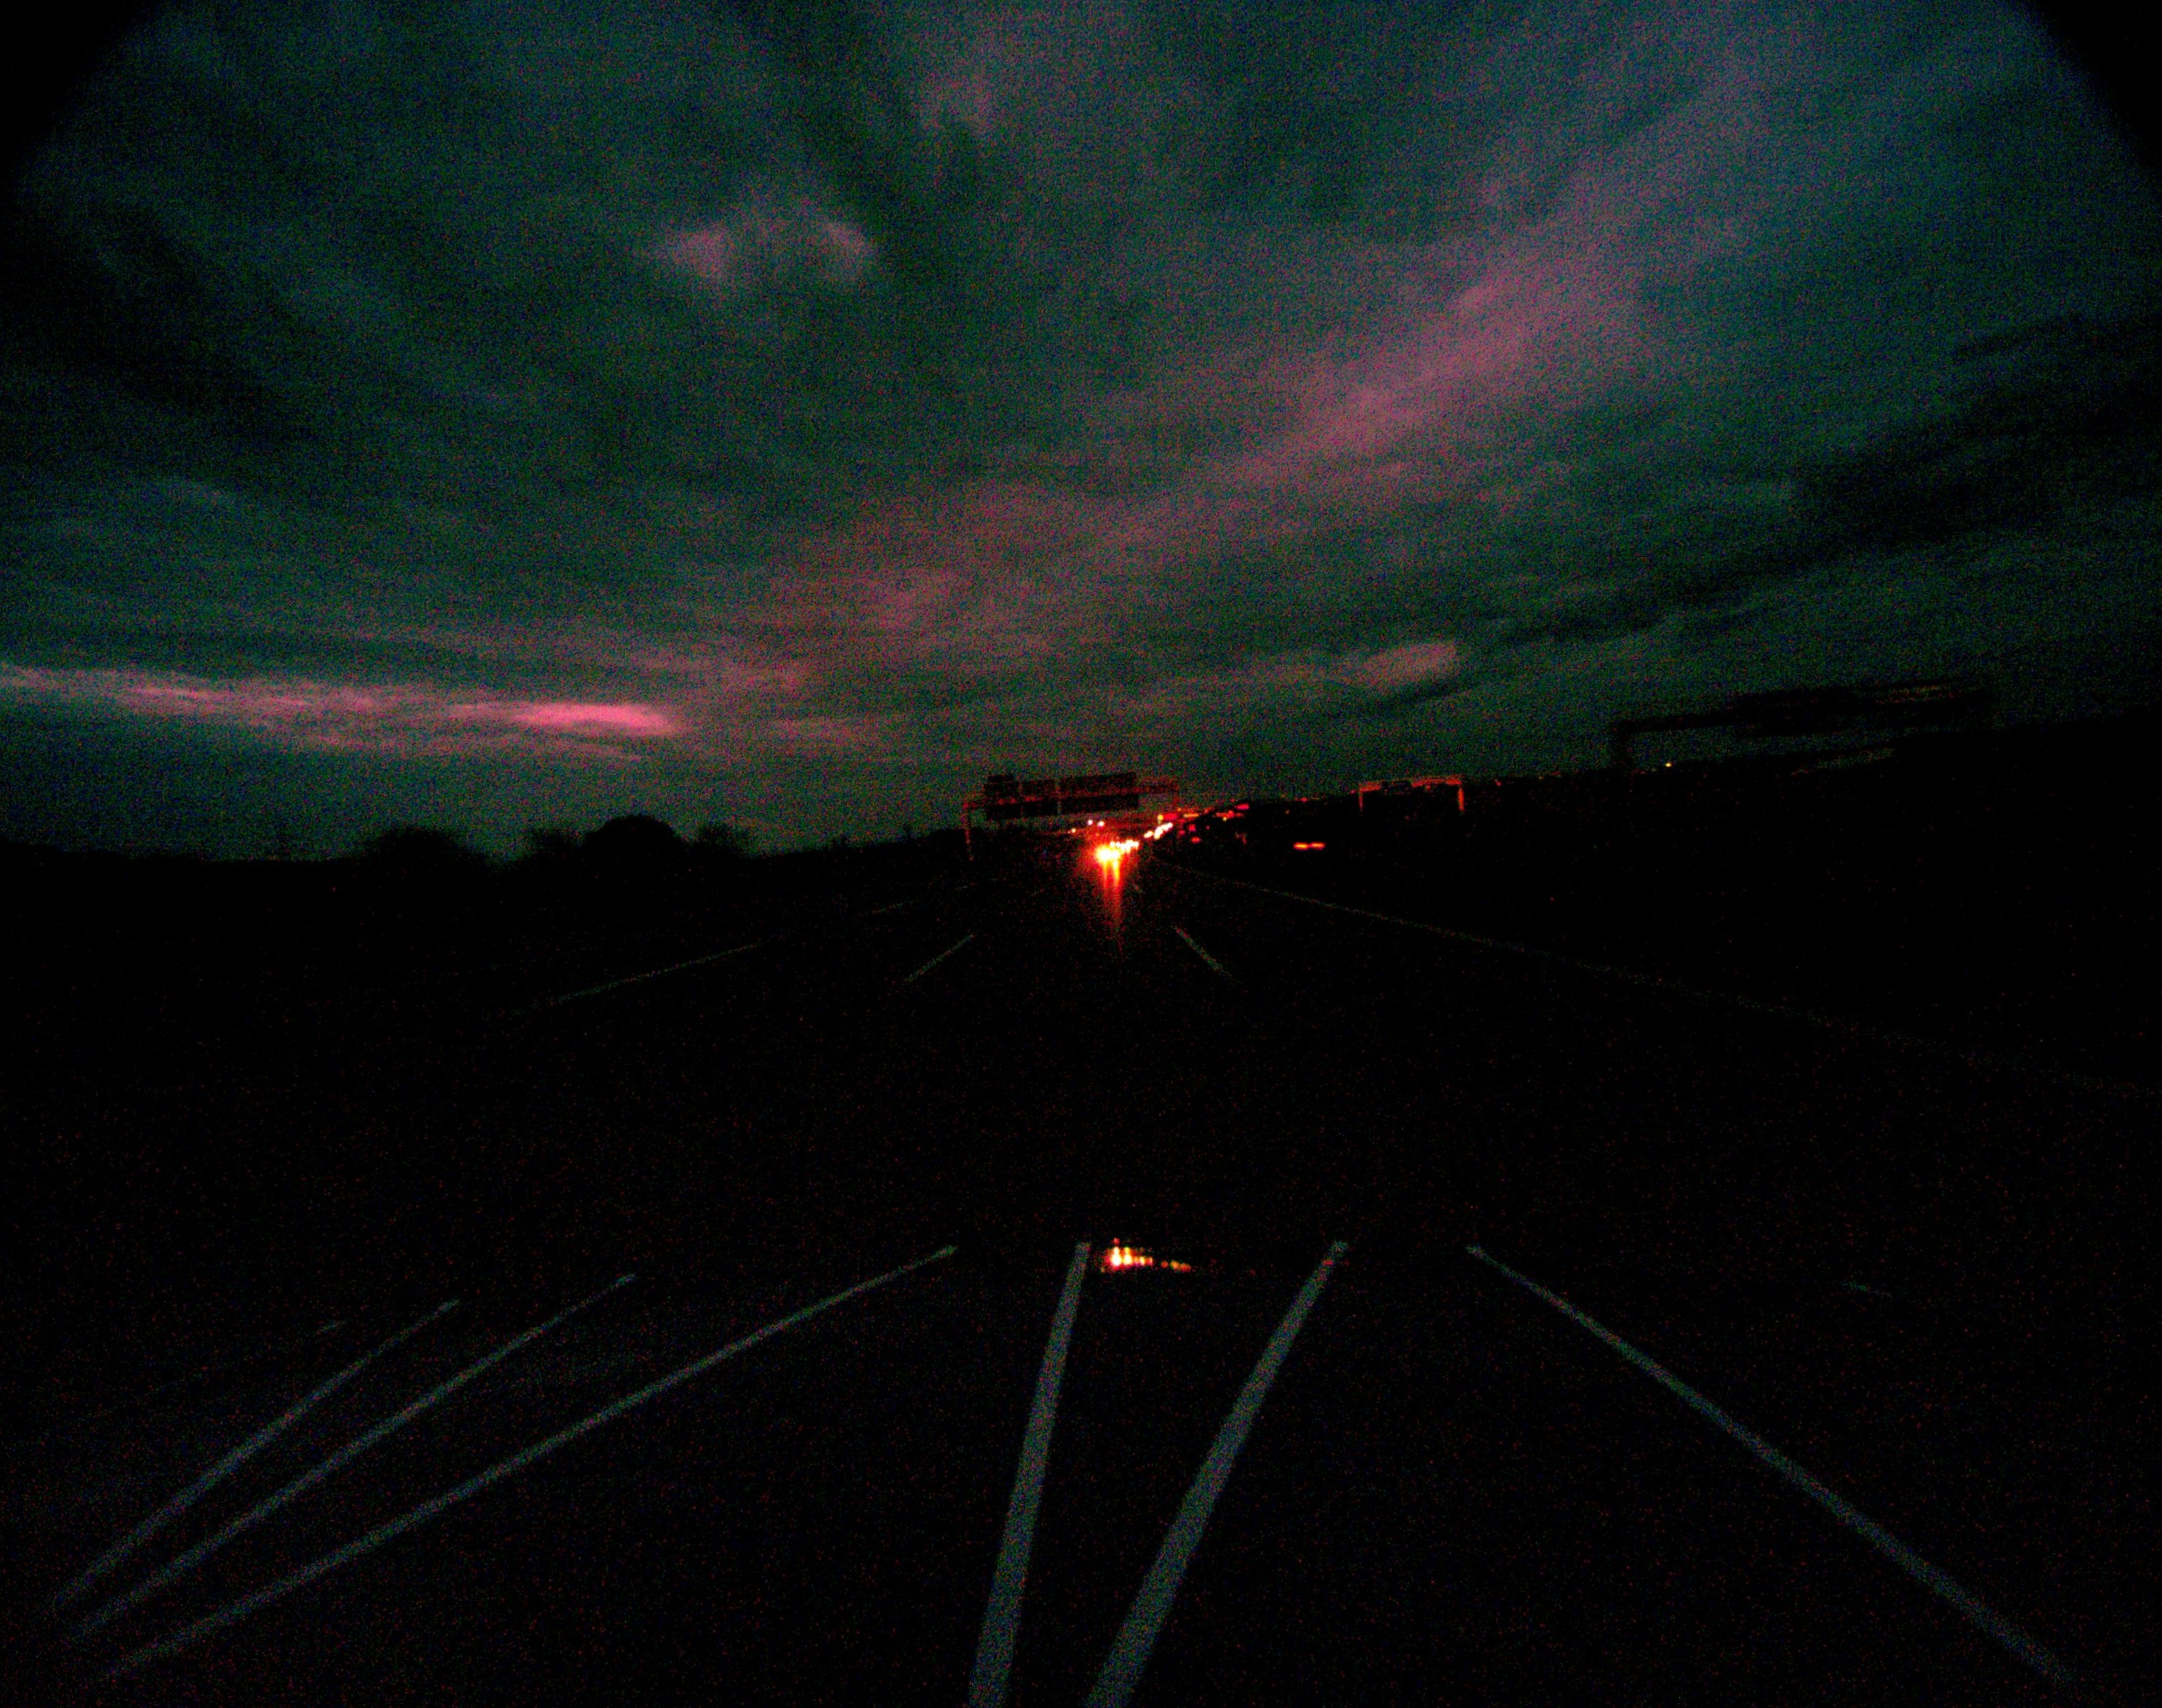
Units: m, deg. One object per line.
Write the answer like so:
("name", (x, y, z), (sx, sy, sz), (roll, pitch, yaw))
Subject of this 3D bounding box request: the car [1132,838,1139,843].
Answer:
("car", (18.040, -4.412, 251.154), (1.998, 1.342, 4.176), (-5, 1, 6))

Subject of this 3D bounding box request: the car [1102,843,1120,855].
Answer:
("car", (3.578, -0.650, 90.609), (1.998, 1.342, 4.175), (-1, 2, 4))

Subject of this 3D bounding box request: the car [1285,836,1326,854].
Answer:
("car", (18.870, -0.748, 64.199), (1.998, 1.350, 4.865), (-3, 0, 0))

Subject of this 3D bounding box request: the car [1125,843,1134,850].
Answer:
("car", (12.666, -1.976, 197.422), (1.998, 1.342, 4.176), (-5, 1, 6))
